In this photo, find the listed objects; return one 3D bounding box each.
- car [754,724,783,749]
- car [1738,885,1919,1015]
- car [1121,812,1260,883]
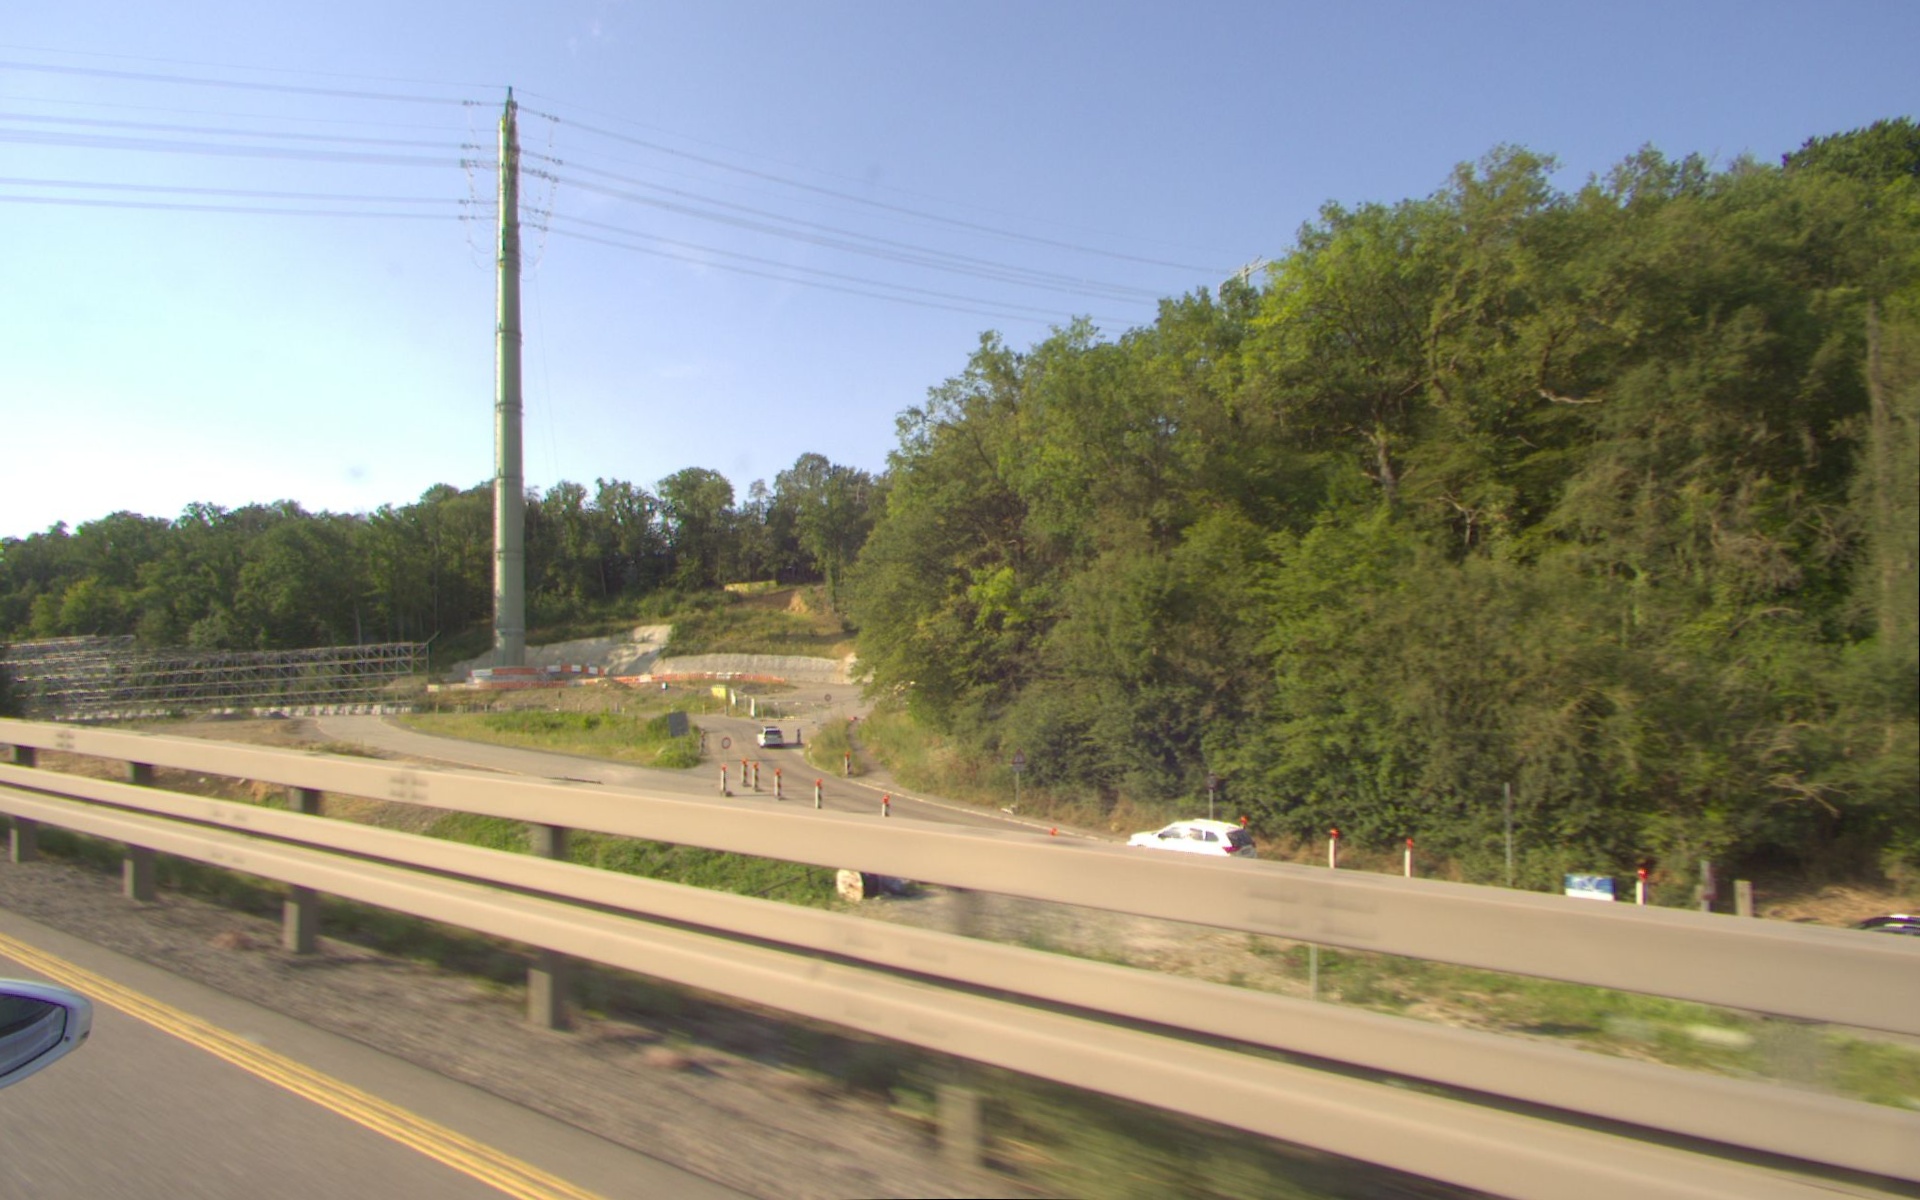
[{"bbox_3d":[-14.401,10.224,75.206,1.504,1.479,4.260,-1,-2,-19],"label":"car"},{"bbox_3d":[19.908,7.667,21.776,1.849,1.807,4.459,1,-2,-41],"label":"car"},{"bbox_3d":[7.765,8.333,34.042,4.426,1.681,1.660,-4,-6,44],"label":"car"}]
